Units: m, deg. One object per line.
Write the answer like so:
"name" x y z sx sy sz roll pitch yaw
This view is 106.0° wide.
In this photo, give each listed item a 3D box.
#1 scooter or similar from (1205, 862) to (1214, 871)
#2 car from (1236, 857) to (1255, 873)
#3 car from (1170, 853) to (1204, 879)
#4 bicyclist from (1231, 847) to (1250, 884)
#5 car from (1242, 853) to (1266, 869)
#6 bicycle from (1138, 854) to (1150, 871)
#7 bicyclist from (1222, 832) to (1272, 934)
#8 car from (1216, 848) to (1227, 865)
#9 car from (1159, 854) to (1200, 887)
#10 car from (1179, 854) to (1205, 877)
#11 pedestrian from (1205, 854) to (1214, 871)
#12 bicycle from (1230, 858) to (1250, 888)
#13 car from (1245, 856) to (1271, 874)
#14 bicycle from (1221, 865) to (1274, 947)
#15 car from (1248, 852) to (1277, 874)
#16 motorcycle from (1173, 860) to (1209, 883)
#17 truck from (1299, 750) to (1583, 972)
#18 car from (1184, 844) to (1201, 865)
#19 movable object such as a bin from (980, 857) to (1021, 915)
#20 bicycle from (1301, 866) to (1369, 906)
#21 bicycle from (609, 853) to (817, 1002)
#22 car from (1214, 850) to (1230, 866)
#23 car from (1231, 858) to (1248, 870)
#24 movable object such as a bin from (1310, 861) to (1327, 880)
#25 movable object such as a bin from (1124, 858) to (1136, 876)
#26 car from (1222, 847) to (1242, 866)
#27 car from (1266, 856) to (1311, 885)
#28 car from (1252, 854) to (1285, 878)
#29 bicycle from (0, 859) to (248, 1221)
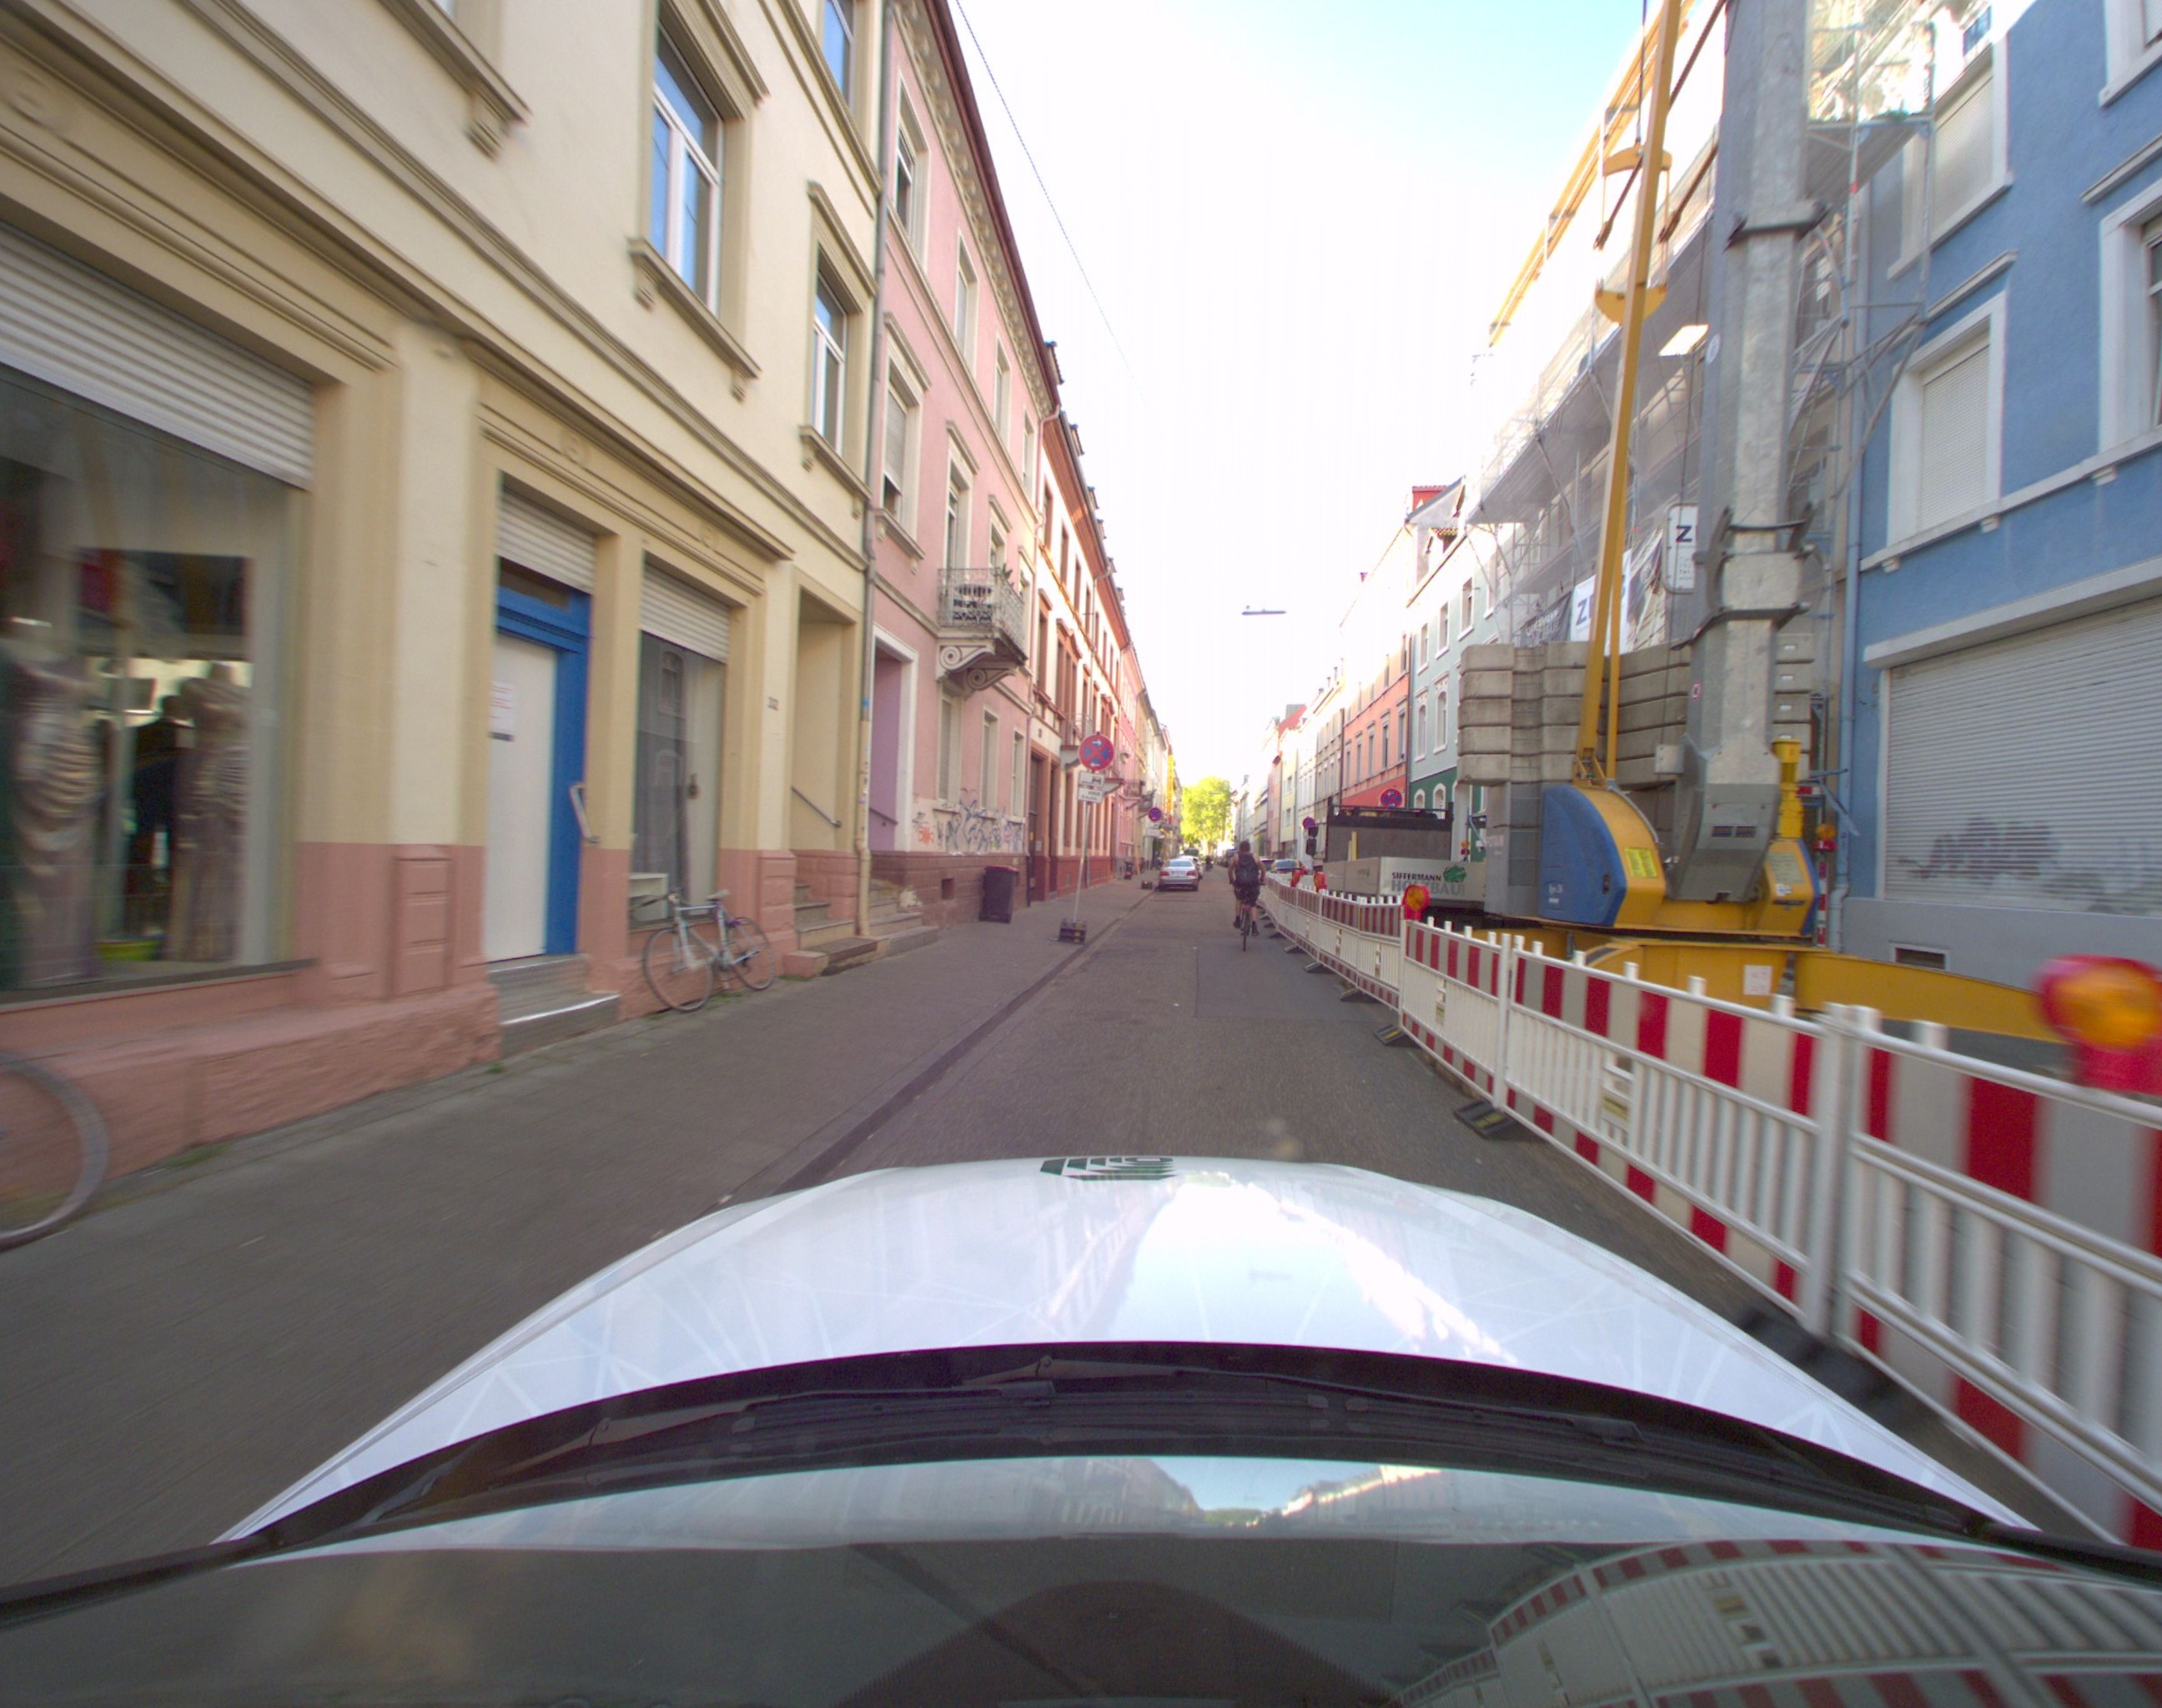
"scooter or similar" 12.250 1.188 77.568 0.767 0.873 0.772 3 -1 6
"car" 15.934 1.079 79.055 1.611 1.550 4.009 0 -1 8
"car" 6.154 0.656 47.056 1.700 1.383 4.368 2 1 10
"bicyclist" 6.924 0.490 35.377 0.698 1.605 0.814 1 1 7
"car" 14.752 0.612 69.702 1.701 1.383 4.009 0 -1 8
"bicycle" 4.307 0.593 55.413 0.589 1.089 2.083 3 0 8
"bicyclist" 2.785 0.465 13.728 0.698 1.633 1.092 2 0 8
"car" 31.599 0.687 183.459 2.295 3.768 6.784 0 -1 8
"car" 4.439 0.739 36.453 1.701 1.383 4.515 0 -1 8
"car" 7.328 0.750 53.681 1.662 1.442 4.174 0 -1 8
"pedestrian" 12.306 0.836 78.053 0.767 1.578 0.902 3 -1 6
"bicycle" 6.922 0.820 35.440 0.698 1.208 2.347 1 1 8
"car" 13.910 0.838 64.233 1.701 1.383 4.009 0 -1 8
"bicycle" 2.788 0.817 13.806 0.698 1.208 2.347 2 0 8
"car" 13.112 0.645 58.951 1.701 1.556 4.009 0 -1 8
"motorcycle" 6.864 1.074 50.662 2.146 1.359 0.538 -1 0 -10
"truck" 5.769 0.115 14.549 2.646 2.814 7.410 3 0 8
"car" 13.818 0.051 100.781 1.900 2.497 4.172 1 0 6
"movable object such as a bin" -1.503 0.599 15.278 0.602 1.035 0.597 3 -1 6
"bicycle" 7.819 0.971 25.081 1.843 1.110 0.644 3 -1 1
"bicycle" -2.920 0.522 6.708 0.618 1.022 1.822 3 0 8
"car" 23.619 0.689 136.612 2.295 2.538 6.784 0 -1 8
"car" 18.597 1.176 95.645 1.701 1.447 4.009 0 -1 8
"movable object such as a bin" 13.506 0.924 46.328 0.733 1.075 0.678 -1 -1 1
"movable object such as a bin" 2.568 0.679 42.575 0.540 0.945 0.488 3 -1 9
"car" 20.579 0.360 111.213 2.295 2.538 6.784 0 -1 8
"car" 10.813 0.865 42.736 1.806 1.438 4.801 0 -1 8
"car" 12.240 0.795 53.346 1.807 1.521 4.009 0 -1 8
"bicycle" -3.557 0.565 2.136 0.600 1.022 1.822 8 1 8
